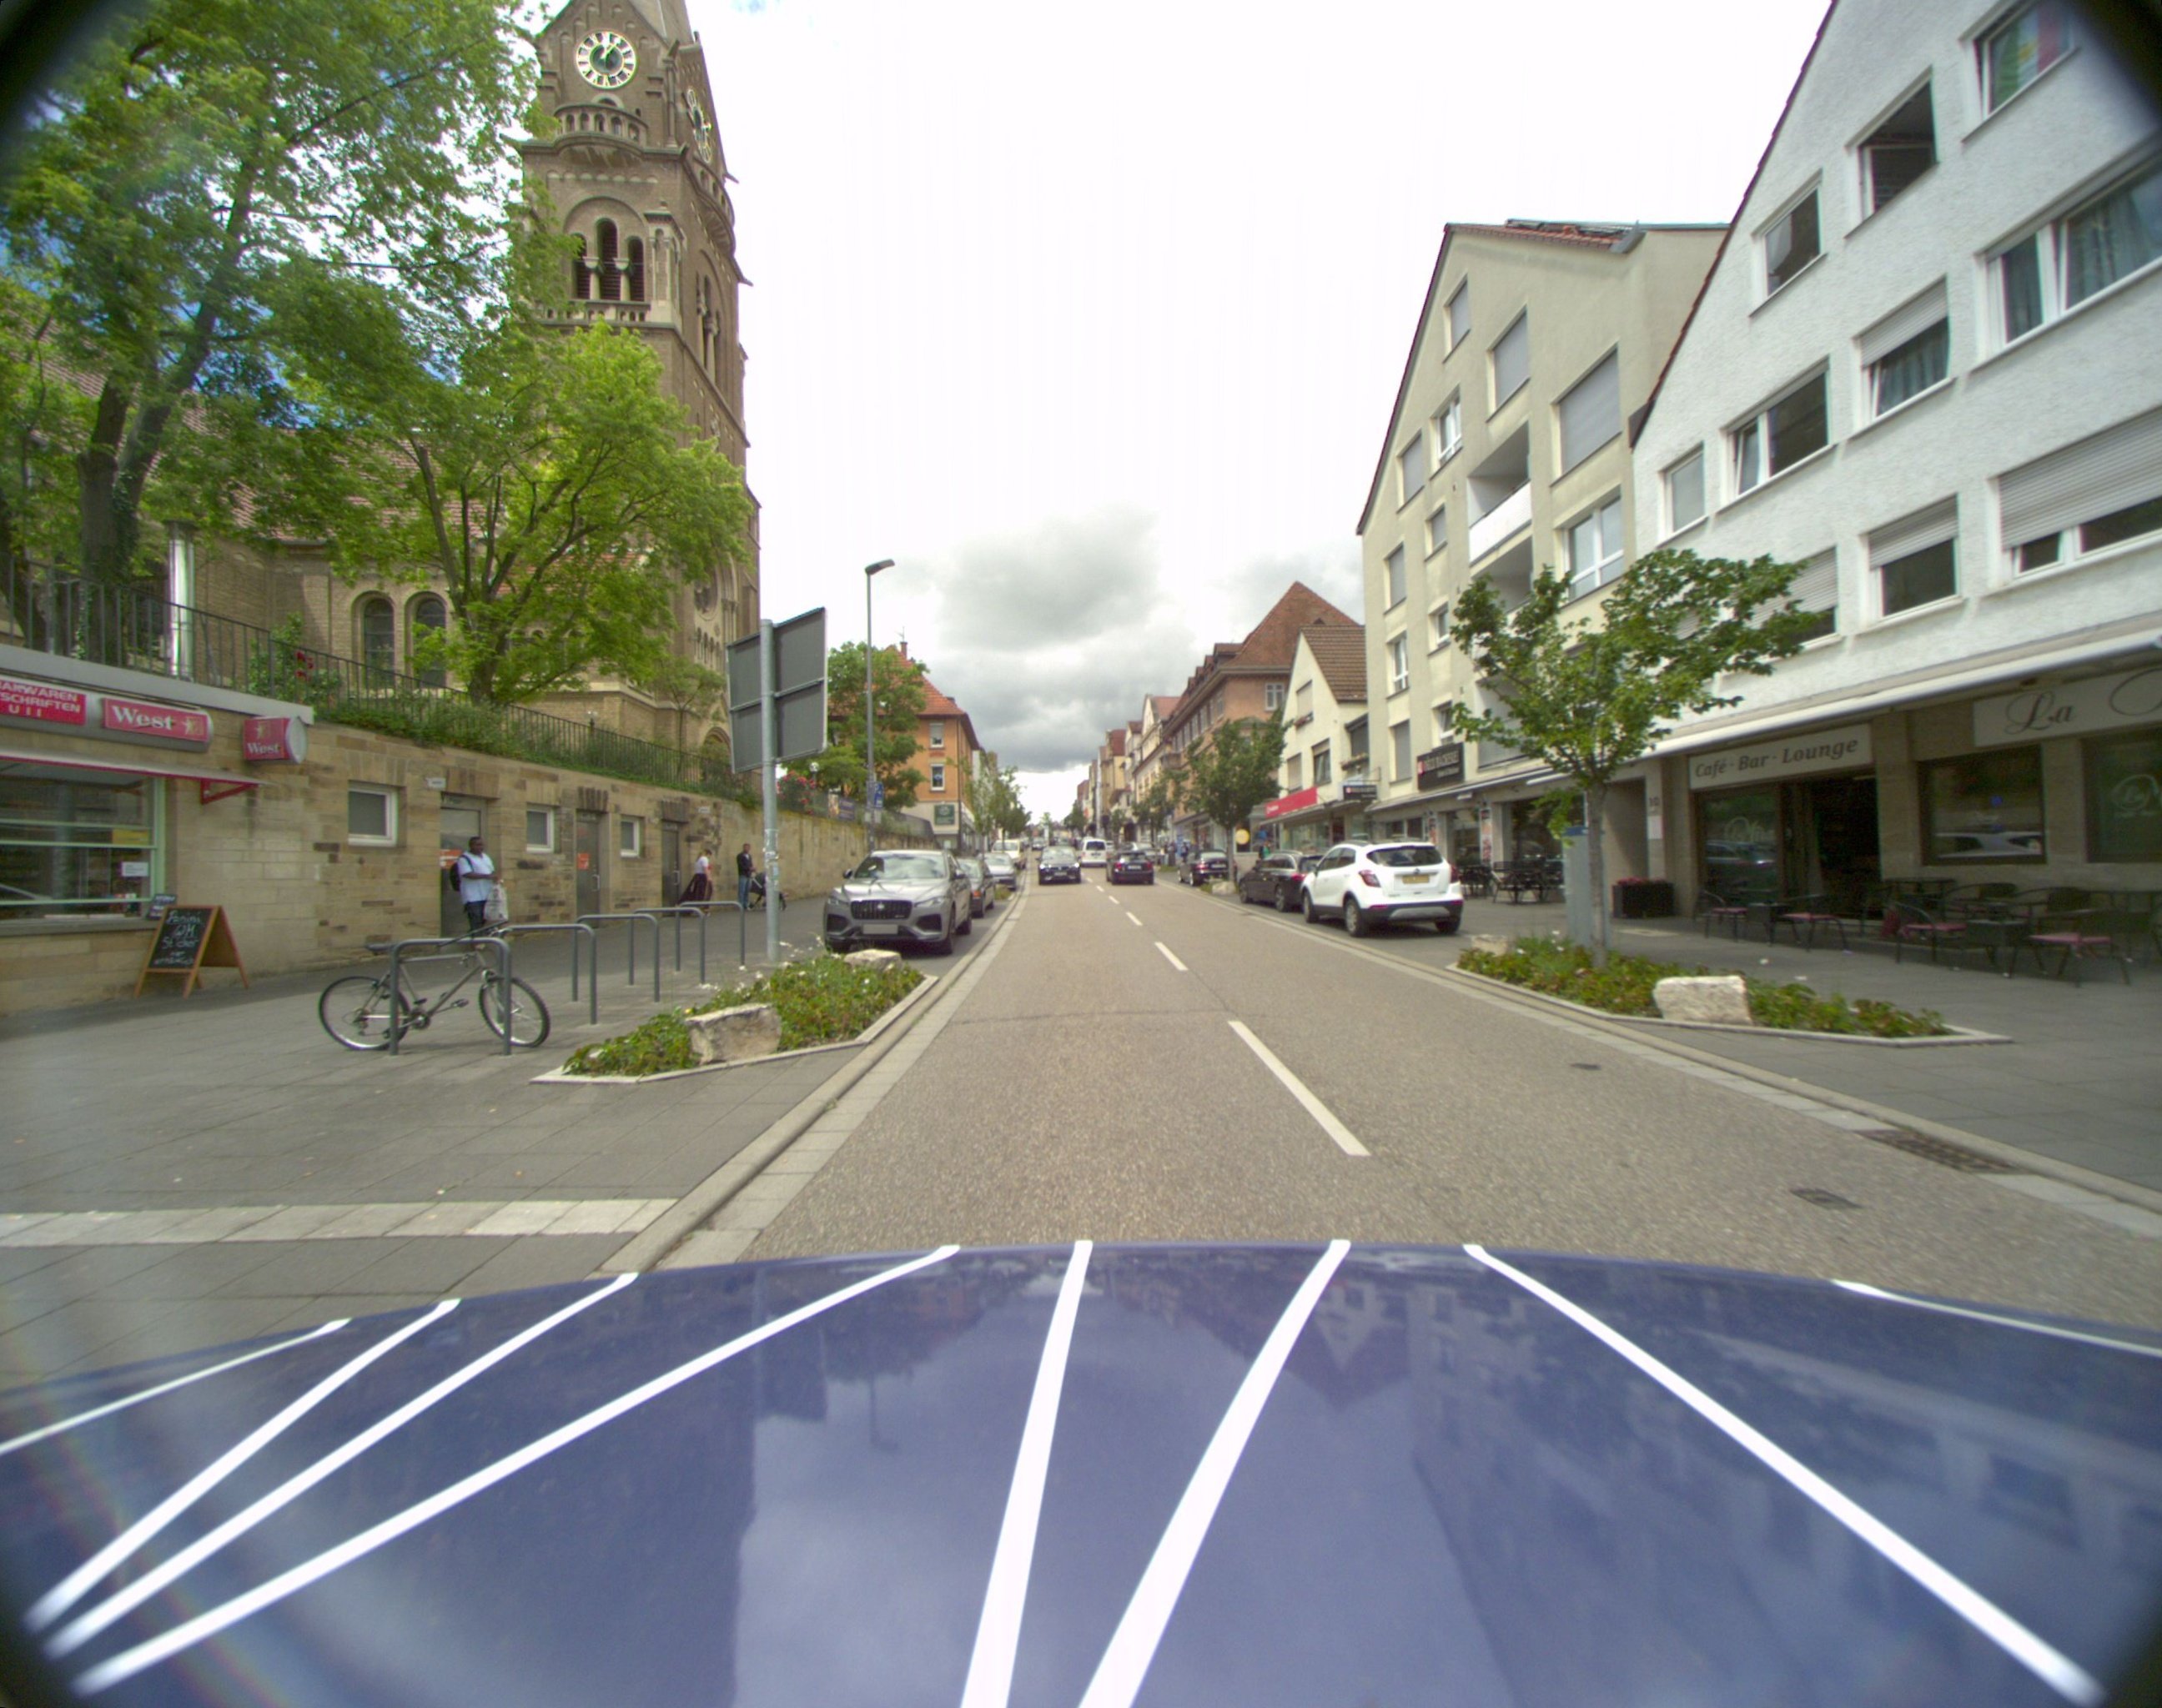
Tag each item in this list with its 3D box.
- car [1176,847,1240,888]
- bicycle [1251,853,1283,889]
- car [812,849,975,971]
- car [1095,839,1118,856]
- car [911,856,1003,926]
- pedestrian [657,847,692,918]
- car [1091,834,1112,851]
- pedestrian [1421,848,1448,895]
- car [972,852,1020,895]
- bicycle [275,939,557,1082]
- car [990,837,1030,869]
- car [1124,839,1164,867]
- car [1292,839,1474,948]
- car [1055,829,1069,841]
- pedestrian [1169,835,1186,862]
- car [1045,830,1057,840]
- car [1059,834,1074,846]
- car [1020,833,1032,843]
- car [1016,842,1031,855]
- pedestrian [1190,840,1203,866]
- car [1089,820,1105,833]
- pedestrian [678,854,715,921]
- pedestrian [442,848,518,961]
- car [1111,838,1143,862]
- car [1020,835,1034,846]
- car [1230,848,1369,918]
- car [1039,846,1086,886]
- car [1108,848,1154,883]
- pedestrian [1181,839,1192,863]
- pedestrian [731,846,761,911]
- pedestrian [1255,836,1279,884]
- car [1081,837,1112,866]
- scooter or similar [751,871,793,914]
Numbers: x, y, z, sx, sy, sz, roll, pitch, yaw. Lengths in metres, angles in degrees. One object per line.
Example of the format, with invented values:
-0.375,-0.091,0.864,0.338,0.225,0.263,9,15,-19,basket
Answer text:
4.953,0.471,30.206,1.661,1.384,4.441,-2,2,-2,car
6.212,0.538,25.456,0.485,1.100,1.907,-2,1,-4,bicycle
-3.003,0.785,13.175,1.934,1.714,4.571,0,1,-4,car
2.289,-0.630,67.956,1.732,1.423,3.501,-2,2,-3,car
-3.090,0.854,19.749,1.685,1.409,4.369,-1,2,-1,car
-9.548,0.652,17.853,0.474,1.636,0.507,0,2,9,pedestrian
2.036,-1.167,75.713,1.732,1.670,3.989,-2,2,-3,car
9.734,0.471,20.904,0.428,1.242,0.566,-2,1,-3,pedestrian
-3.309,0.715,30.105,1.760,1.433,4.086,-1,2,-5,car
-5.064,1.180,5.845,1.732,0.990,0.345,0,1,-6,bicycle
-4.374,-0.133,47.814,1.889,1.837,5.029,0,2,2,car
3.857,-0.115,47.000,1.730,1.564,4.451,-2,2,-5,car
5.361,0.607,14.107,1.670,1.637,4.133,-3,1,0,car
-2.788,-2.691,109.650,1.831,1.680,3.856,-1,2,-4,car
6.165,-0.358,48.490,0.873,1.657,0.906,-2,2,-5,pedestrian
-4.890,-3.148,124.572,1.895,1.670,3.733,0,2,-3,car
-1.848,-1.820,95.559,1.686,1.492,4.151,-1,2,-3,car
-8.341,-2.459,115.057,1.690,1.366,3.527,-1,2,-3,car
-7.004,-0.714,92.839,1.774,1.516,3.527,-1,2,-3,car
7.039,-0.080,46.483,0.615,1.573,0.642,-2,2,-5,pedestrian
1.999,-3.358,93.781,1.690,1.516,3.527,-1,2,-3,car
-8.893,0.766,17.574,0.589,1.515,0.585,0,1,45,pedestrian
-9.372,0.766,11.868,0.763,1.720,0.597,1,1,-19,pedestrian
3.281,-0.325,54.486,1.669,1.518,3.960,-3,2,-5,car
-7.285,-1.833,102.231,1.774,1.516,3.527,-1,2,-3,car
5.358,0.623,19.327,1.845,1.443,4.512,-3,1,-5,car
-0.875,0.471,33.648,1.895,1.516,3.733,-3,2,-3,car
2.048,0.452,32.140,1.611,1.380,3.628,0,1,-2,car
6.445,-0.189,46.524,0.497,1.469,0.528,-2,2,-5,pedestrian
-8.573,0.624,19.465,0.474,1.636,0.507,0,2,9,pedestrian
6.980,0.219,28.547,0.662,1.751,0.777,-2,2,-1,pedestrian
0.966,-0.224,49.544,1.751,1.792,4.210,0,1,-2,car
-7.891,0.974,19.416,0.813,1.066,0.560,0,2,9,scooter or similar
